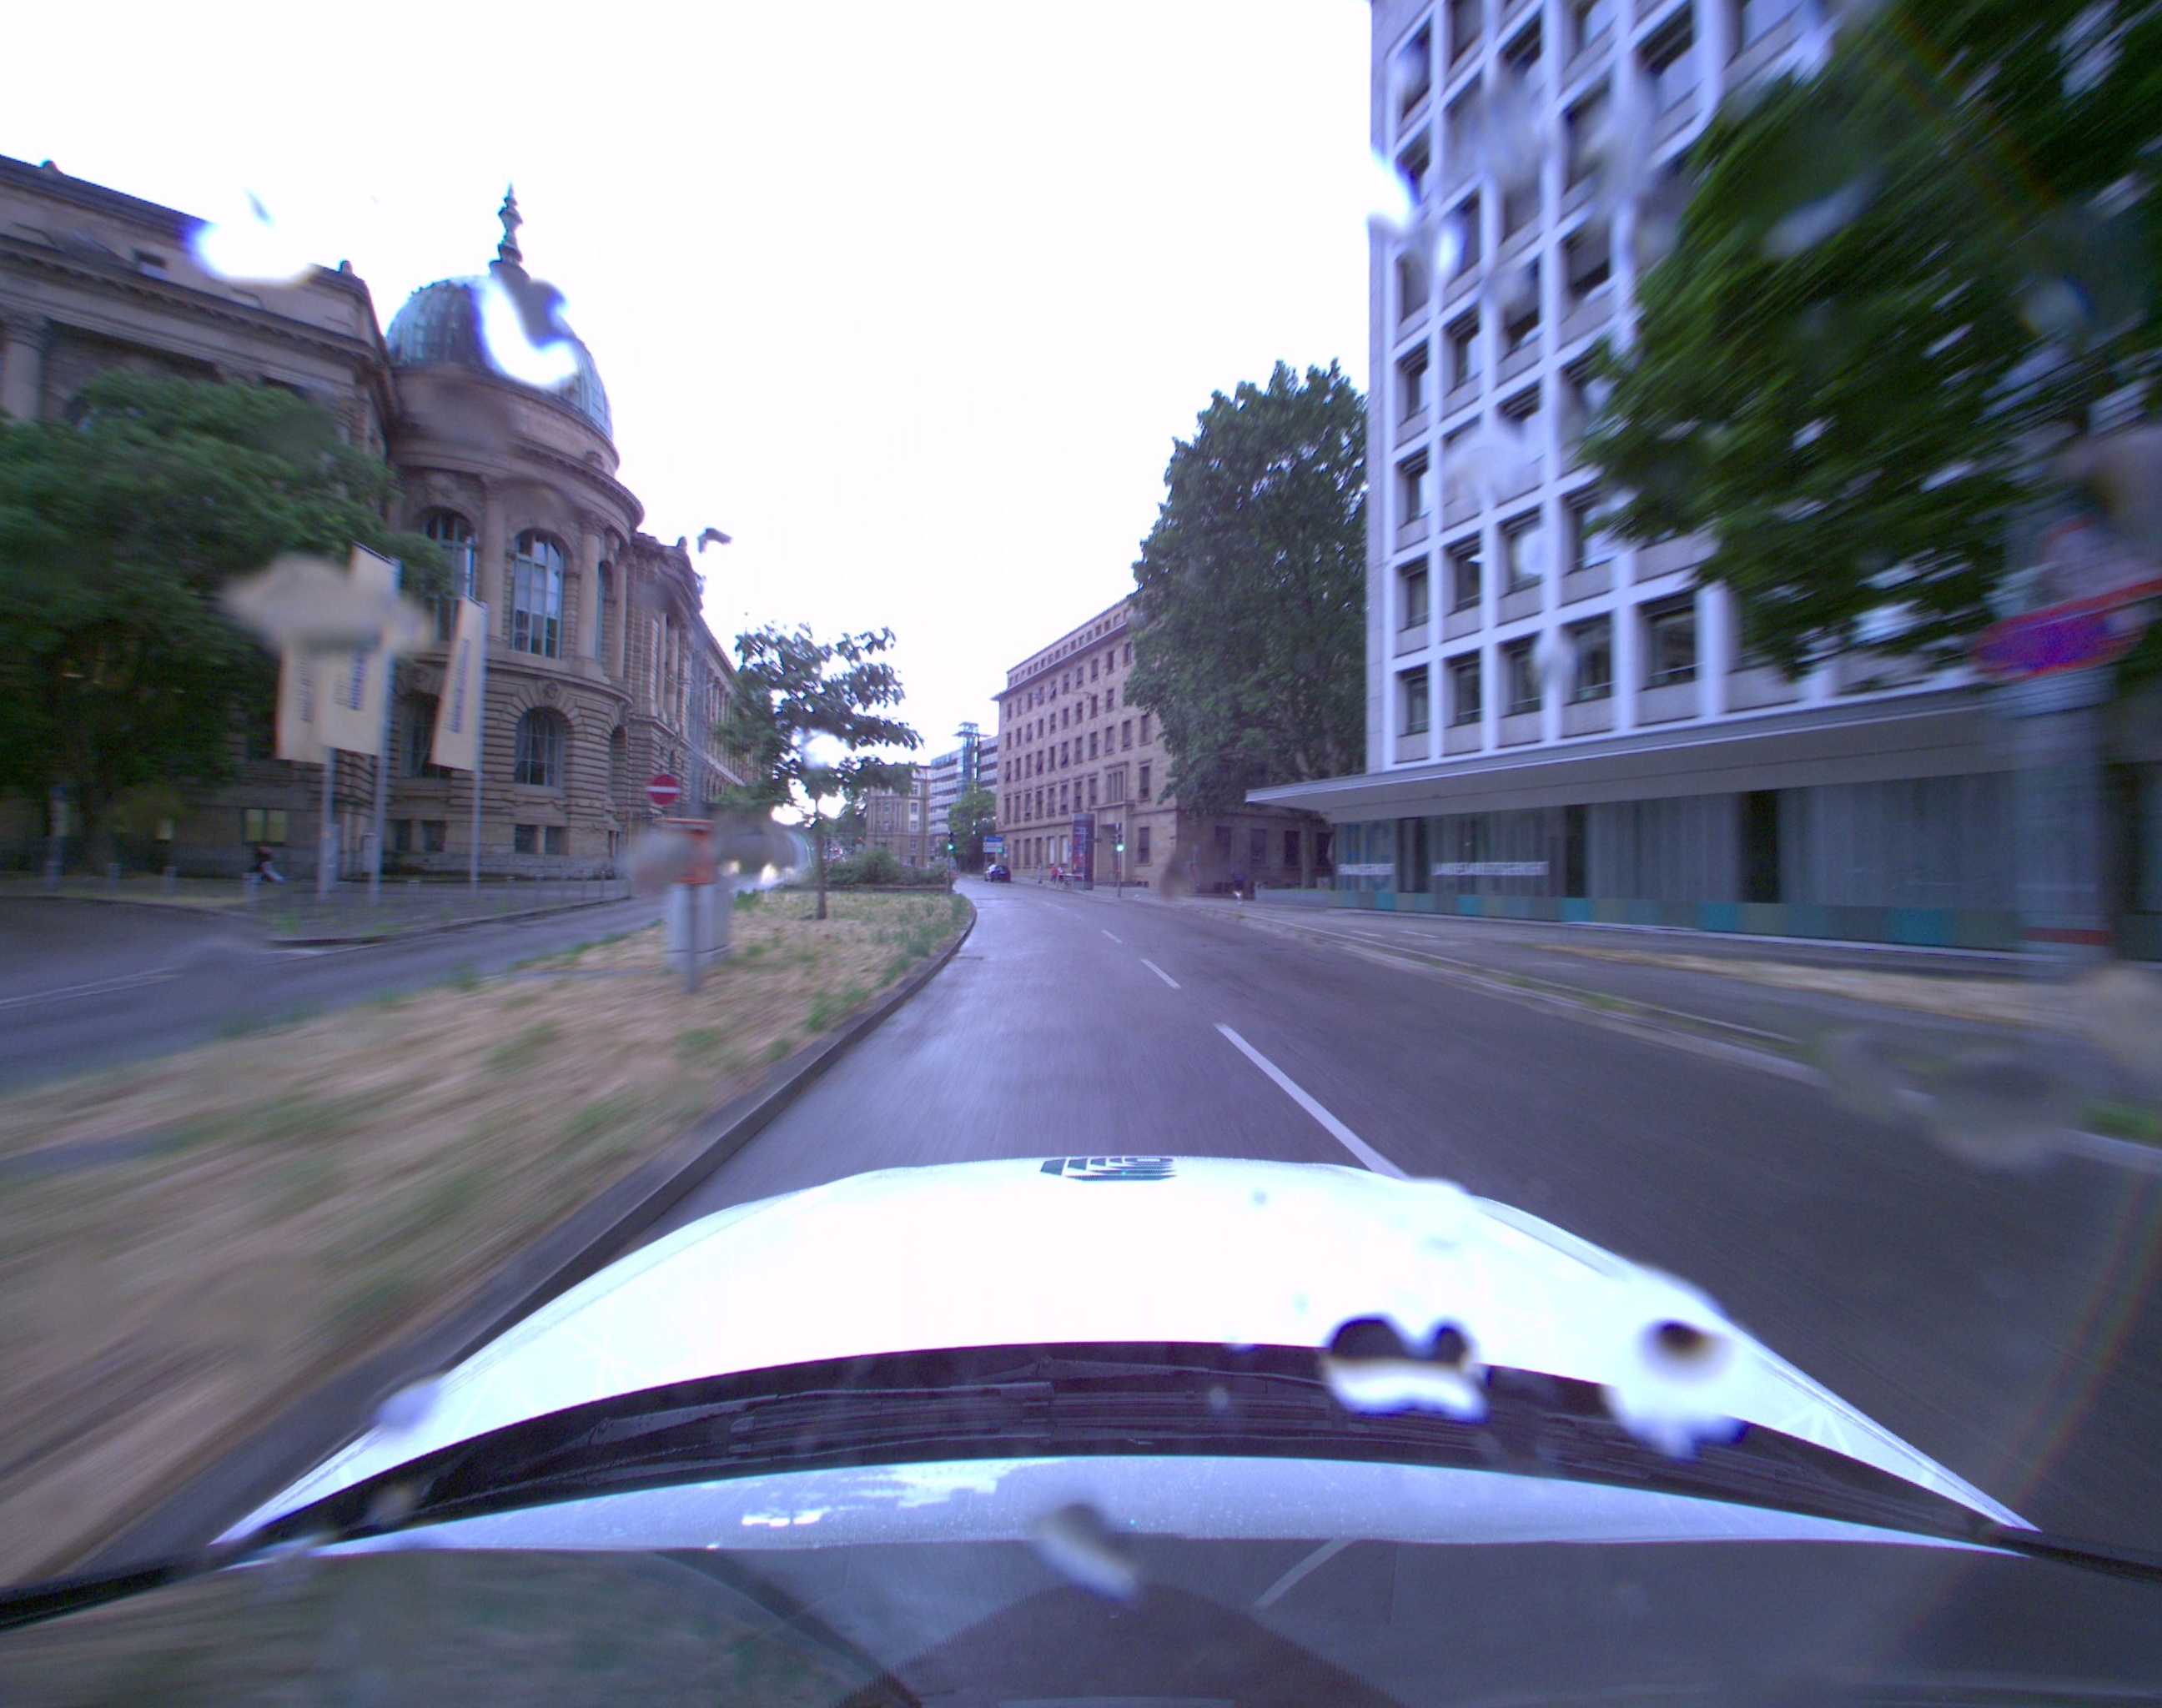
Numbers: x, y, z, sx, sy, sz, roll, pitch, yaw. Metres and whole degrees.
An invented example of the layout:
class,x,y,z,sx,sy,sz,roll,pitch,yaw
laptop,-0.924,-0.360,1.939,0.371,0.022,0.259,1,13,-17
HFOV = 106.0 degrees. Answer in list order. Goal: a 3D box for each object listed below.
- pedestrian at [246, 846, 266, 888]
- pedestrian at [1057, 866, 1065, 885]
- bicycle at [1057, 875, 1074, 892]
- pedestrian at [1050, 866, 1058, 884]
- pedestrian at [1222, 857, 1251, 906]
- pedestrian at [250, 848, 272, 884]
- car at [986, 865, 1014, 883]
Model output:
class,x,y,z,sx,sy,sz,roll,pitch,yaw
pedestrian,-30.266,0.475,29.884,0.388,1.529,0.437,2,-2,-34
pedestrian,-1.680,1.837,68.867,0.524,1.603,0.671,2,-2,-10
bicycle,-0.955,1.778,49.108,0.490,1.012,1.916,2,-2,-18
pedestrian,-2.269,1.744,68.574,0.525,1.492,0.670,2,-2,-15
pedestrian,5.758,1.001,30.242,0.779,1.772,0.860,1,-1,-10
pedestrian,-30.717,0.439,30.512,0.443,1.345,0.637,2,-1,-34
car,-7.573,1.883,75.983,1.773,1.619,4.132,2,-2,-18
